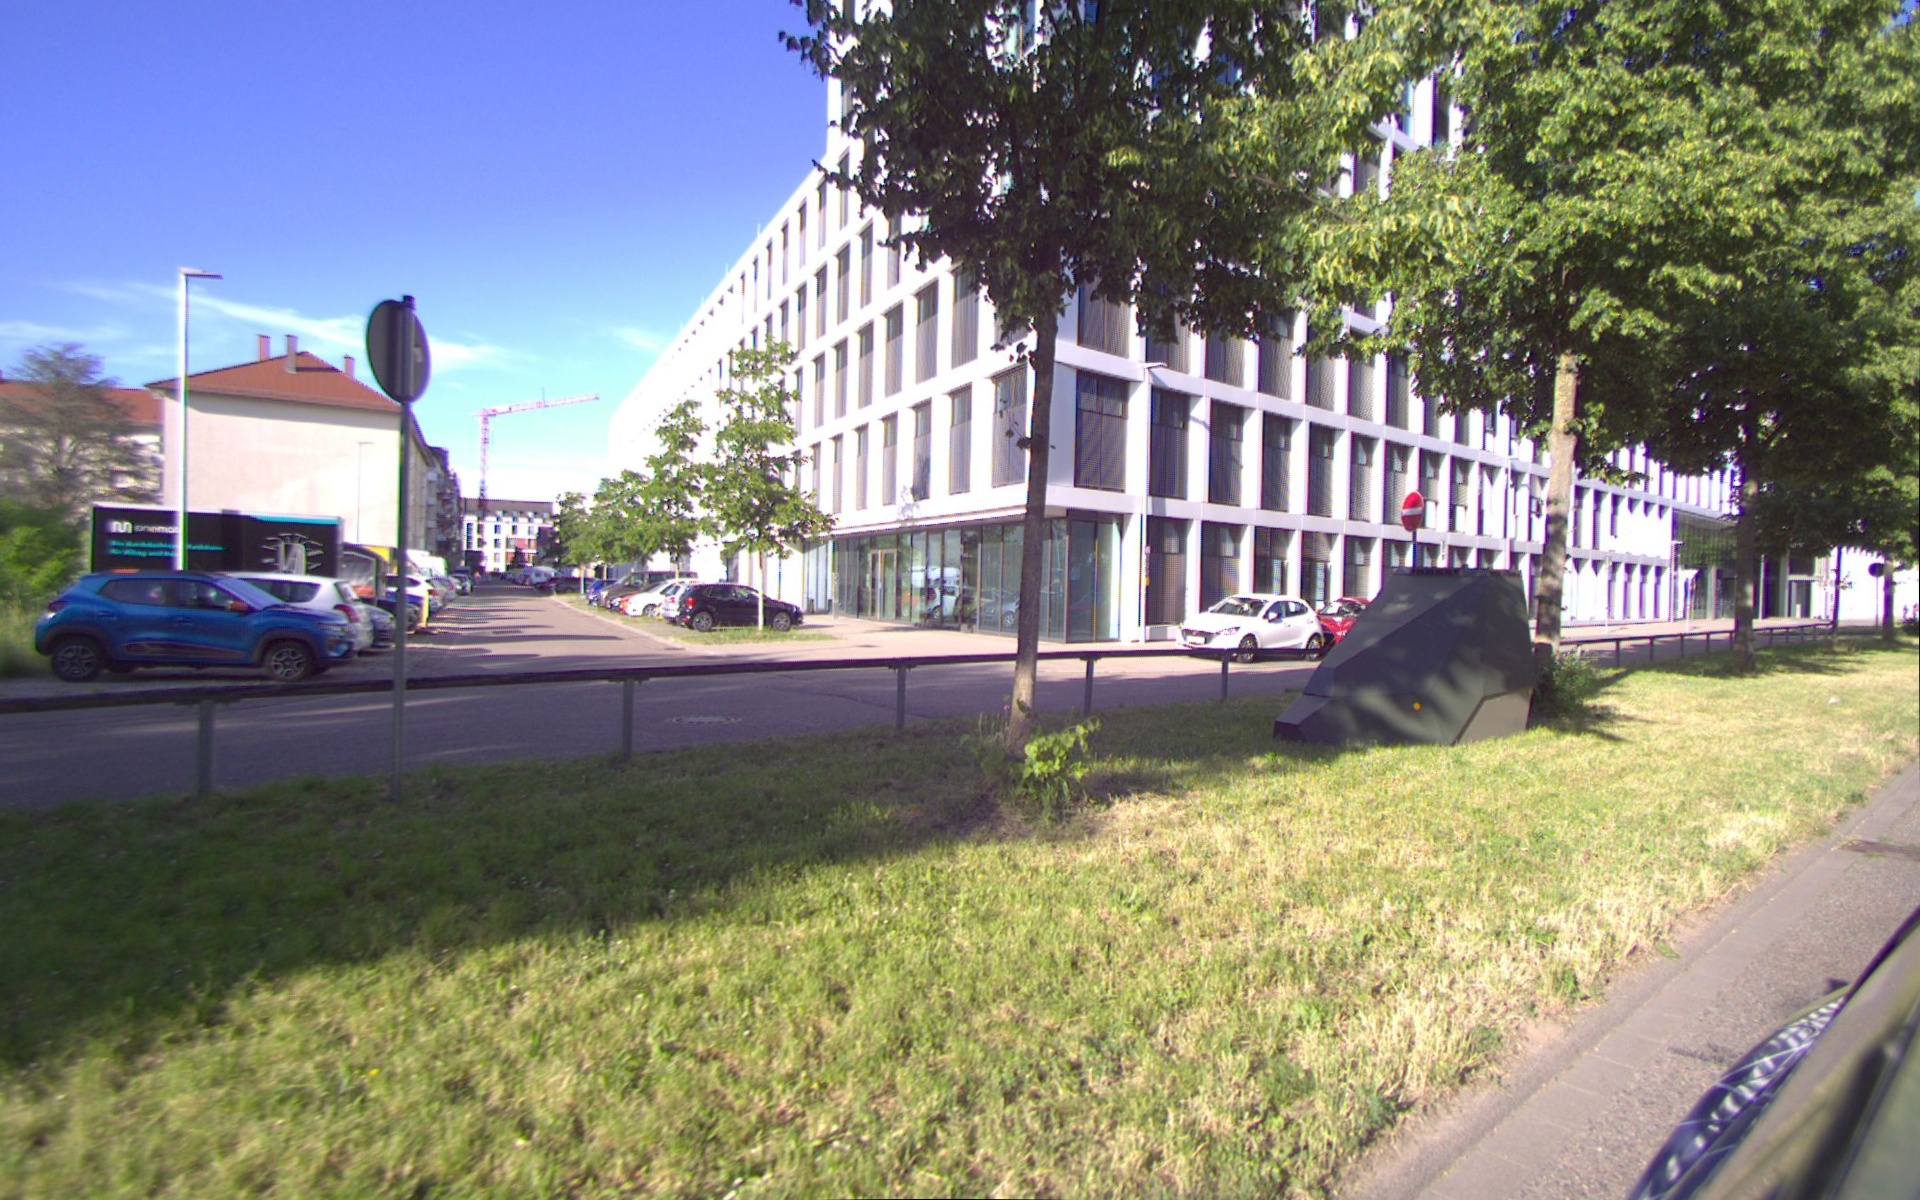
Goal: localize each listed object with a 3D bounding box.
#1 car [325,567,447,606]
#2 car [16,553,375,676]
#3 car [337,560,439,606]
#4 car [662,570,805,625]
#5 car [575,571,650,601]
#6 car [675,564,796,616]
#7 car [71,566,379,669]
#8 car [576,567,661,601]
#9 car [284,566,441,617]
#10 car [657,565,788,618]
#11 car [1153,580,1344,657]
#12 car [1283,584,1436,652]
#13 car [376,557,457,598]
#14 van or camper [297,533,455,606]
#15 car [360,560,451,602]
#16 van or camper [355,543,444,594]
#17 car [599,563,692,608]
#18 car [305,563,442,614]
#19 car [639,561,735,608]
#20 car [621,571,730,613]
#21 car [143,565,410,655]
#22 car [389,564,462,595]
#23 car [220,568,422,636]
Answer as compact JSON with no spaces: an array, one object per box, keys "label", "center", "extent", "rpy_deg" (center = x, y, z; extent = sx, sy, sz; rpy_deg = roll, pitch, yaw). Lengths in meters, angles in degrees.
[{"label":"car","center":[-21.894,-0.478,38.774],"extent":[3.917,1.369,1.737],"rpy_deg":[1,-1,-25]},{"label":"car","center":[-10.646,0.209,14.421],"extent":[3.739,1.565,1.602],"rpy_deg":[2,1,-21]},{"label":"car","center":[-26.049,-0.781,46.230],"extent":[3.918,2.039,2.003],"rpy_deg":[-1,0,-25]},{"label":"car","center":[-6.987,-0.086,31.210],"extent":[3.918,1.594,2.003],"rpy_deg":[-1,0,-26]},{"label":"car","center":[-20.167,-0.811,58.768],"extent":[3.917,1.715,2.003],"rpy_deg":[-1,0,-25]},{"label":"car","center":[-8.116,-0.353,36.577],"extent":[3.917,1.794,2.003],"rpy_deg":[-1,0,-25]},{"label":"car","center":[-11.976,0.237,16.805],"extent":[3.800,1.555,1.755],"rpy_deg":[-1,0,-22]},{"label":"car","center":[-17.509,-0.822,51.829],"extent":[3.917,1.715,2.003],"rpy_deg":[-1,0,-25]},{"label":"car","center":[-19.257,-0.261,32.836],"extent":[4.184,1.493,1.836],"rpy_deg":[2,0,-25]},{"label":"car","center":[-7.963,-0.292,33.896],"extent":[3.917,1.705,2.003],"rpy_deg":[-1,0,-25]},{"label":"car","center":[6.660,0.352,23.187],"extent":[4.321,1.504,2.000],"rpy_deg":[-1,4,-38]},{"label":"car","center":[10.371,0.388,26.134],"extent":[4.197,1.504,1.869],"rpy_deg":[-1,4,-40]},{"label":"car","center":[-30.812,-1.292,57.463],"extent":[3.918,2.245,2.003],"rpy_deg":[-1,0,-25]},{"label":"van or camper","center":[-24.821,-1.272,43.277],"extent":[5.732,2.929,2.002],"rpy_deg":[-1,0,-28]},{"label":"car","center":[-27.999,-0.950,51.217],"extent":[3.918,2.039,2.003],"rpy_deg":[-1,0,-25]},{"label":"van or camper","center":[-33.256,-1.853,60.156],"extent":[4.469,2.956,2.003],"rpy_deg":[-1,0,-25]},{"label":"car","center":[-14.717,-0.681,47.274],"extent":[3.917,2.039,2.003],"rpy_deg":[-1,0,-25]},{"label":"car","center":[-20.419,-0.370,35.448],"extent":[3.917,1.639,2.003],"rpy_deg":[1,-1,-25]},{"label":"car","center":[-12.332,-0.706,45.659],"extent":[3.917,2.039,2.003],"rpy_deg":[-1,0,-25]},{"label":"car","center":[-11.317,-0.328,40.278],"extent":[3.917,1.616,2.003],"rpy_deg":[-1,0,-25]},{"label":"car","center":[-12.664,0.141,19.048],"extent":[3.868,1.560,1.726],"rpy_deg":[-1,0,-22]},{"label":"car","center":[-33.550,-1.286,63.624],"extent":[3.917,1.838,2.003],"rpy_deg":[-1,0,-23]},{"label":"car","center":[-15.074,0.017,24.133],"extent":[3.800,1.515,1.790],"rpy_deg":[-1,0,-22]}]
